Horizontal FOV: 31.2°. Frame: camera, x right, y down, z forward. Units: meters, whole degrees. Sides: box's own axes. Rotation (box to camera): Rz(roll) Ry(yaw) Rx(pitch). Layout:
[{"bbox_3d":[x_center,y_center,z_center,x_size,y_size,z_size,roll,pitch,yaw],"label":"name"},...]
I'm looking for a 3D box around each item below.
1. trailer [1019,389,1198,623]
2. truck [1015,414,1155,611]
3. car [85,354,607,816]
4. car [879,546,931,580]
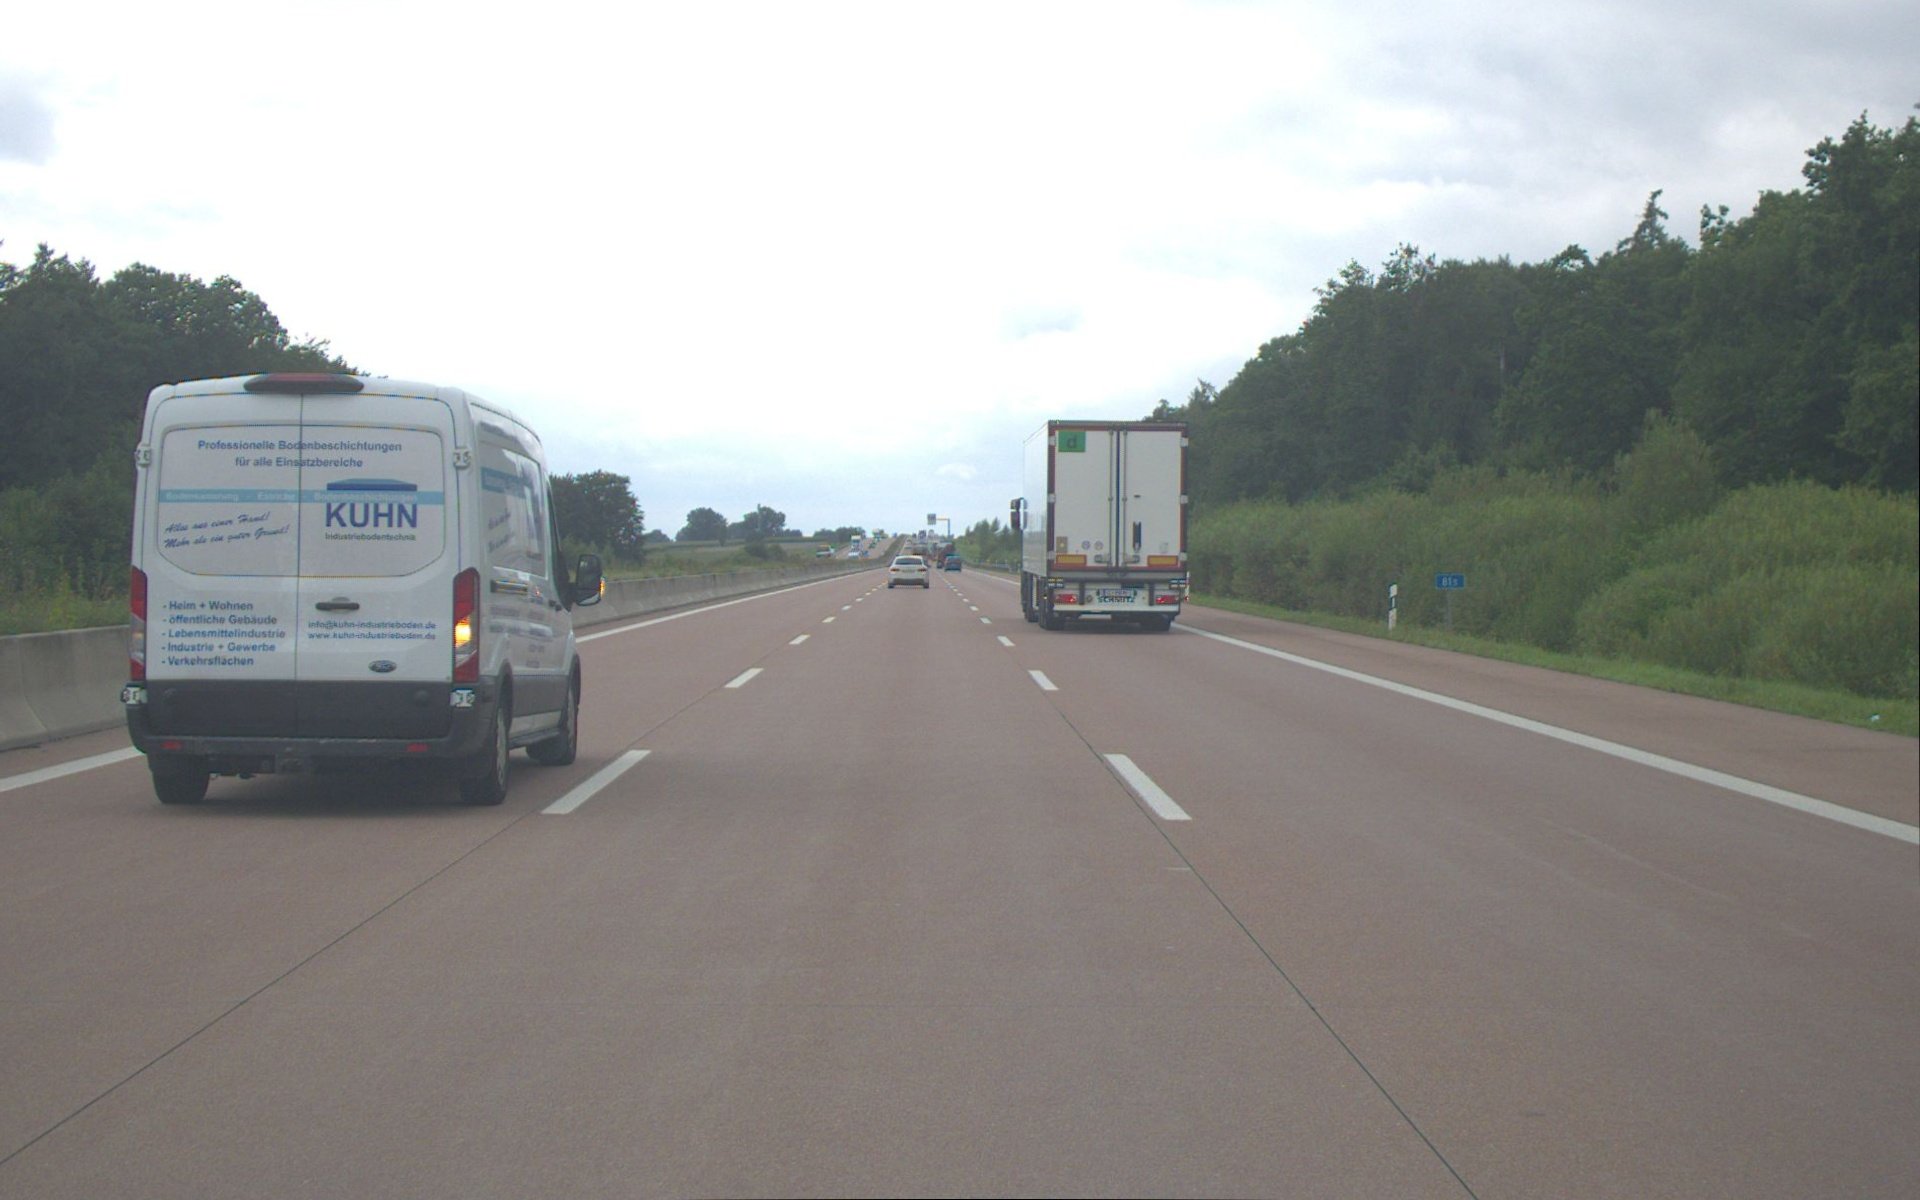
[{"bbox_3d":[2.836,-1.812,69.765,2.921,4.279,13.614,0,1,0],"label":"trailer"},{"bbox_3d":[2.763,-1.940,77.469,2.921,4.279,5.335,0,1,0],"label":"truck"},{"bbox_3d":[-3.686,-0.162,22.159,2.137,2.498,7.132,0,1,0],"label":"car"},{"bbox_3d":[-2.508,-1.686,157.282,2.163,1.446,4.719,1,1,1],"label":"car"}]
